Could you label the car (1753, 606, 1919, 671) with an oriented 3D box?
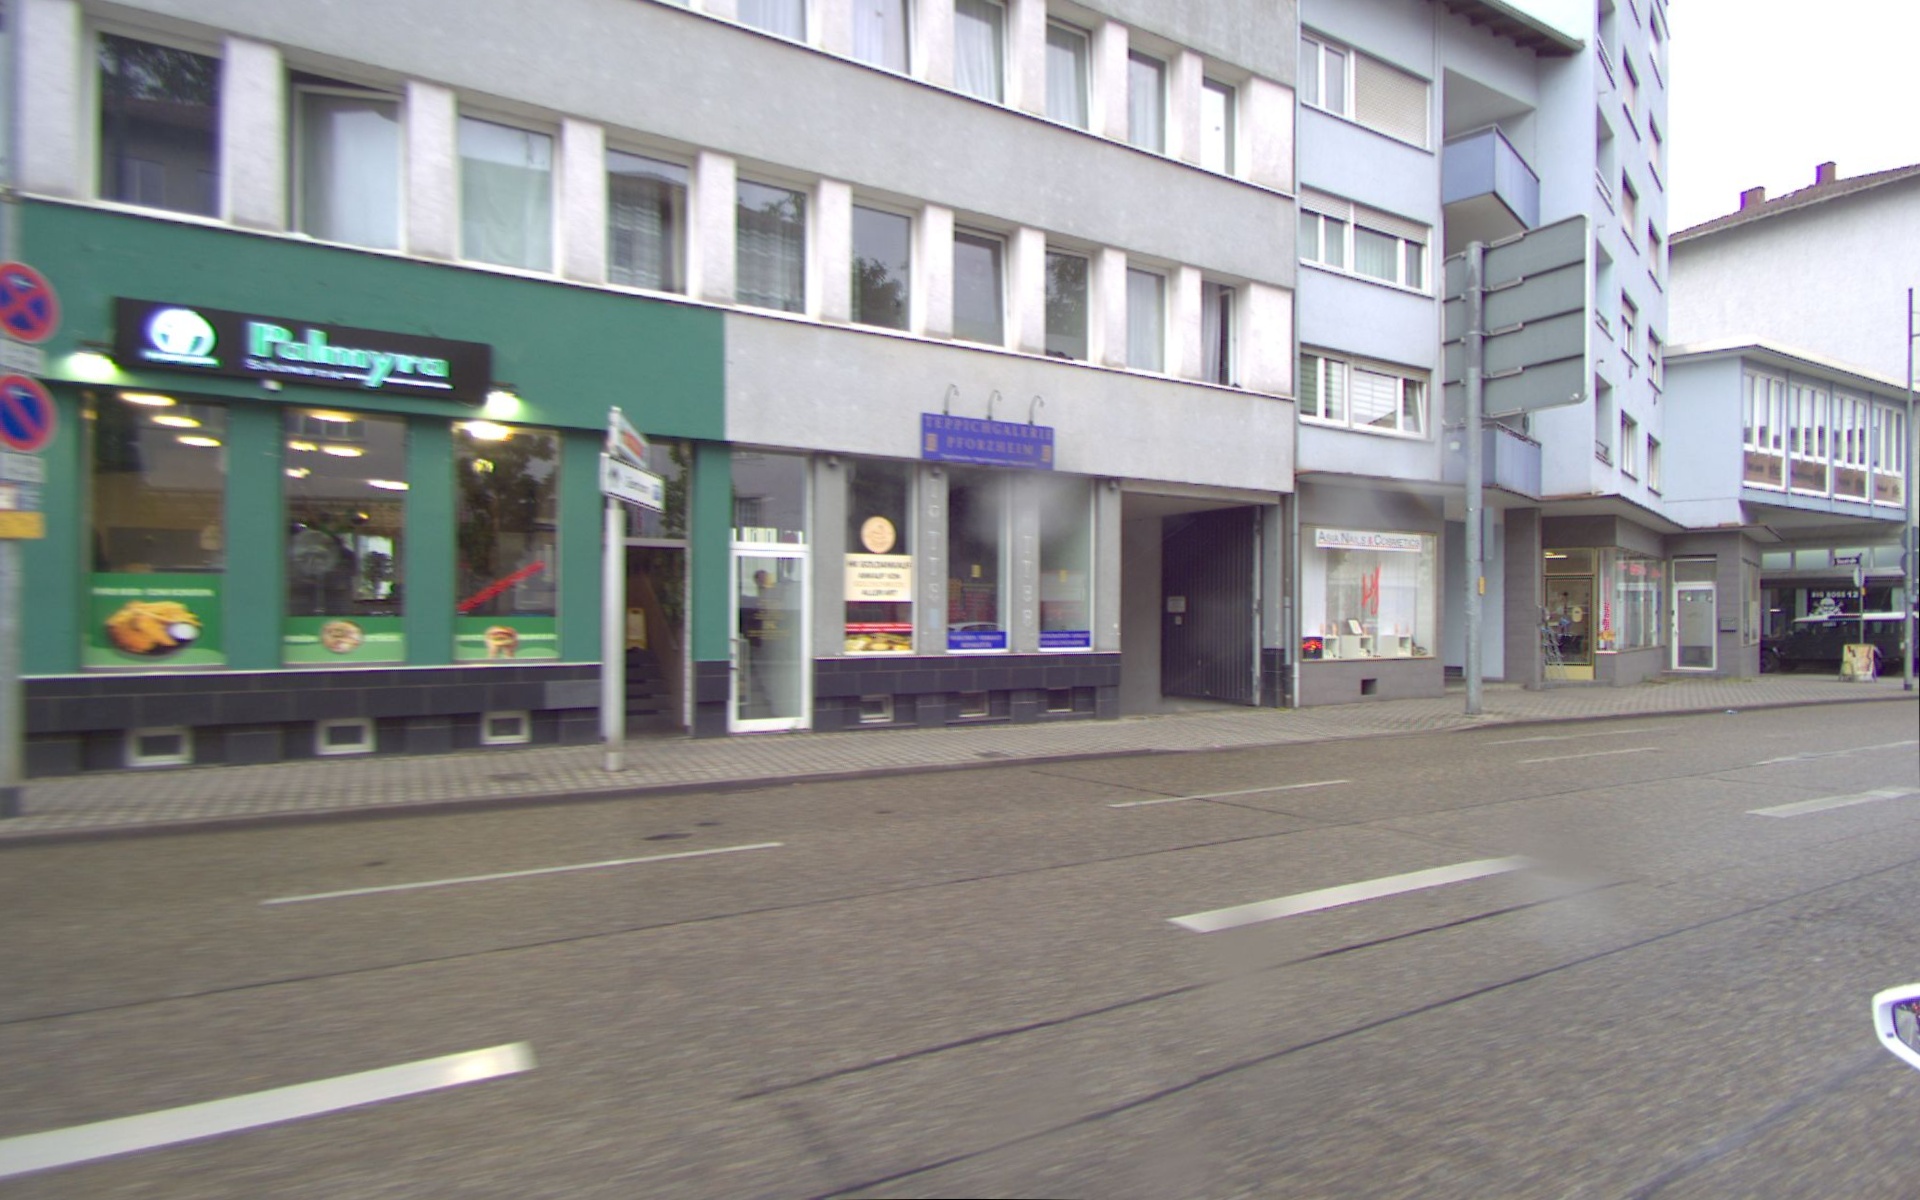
[{"bbox_3d":[29.257,1.253,33.642,1.561,2.061,3.947,1,-1,-28],"label":"car"}]
